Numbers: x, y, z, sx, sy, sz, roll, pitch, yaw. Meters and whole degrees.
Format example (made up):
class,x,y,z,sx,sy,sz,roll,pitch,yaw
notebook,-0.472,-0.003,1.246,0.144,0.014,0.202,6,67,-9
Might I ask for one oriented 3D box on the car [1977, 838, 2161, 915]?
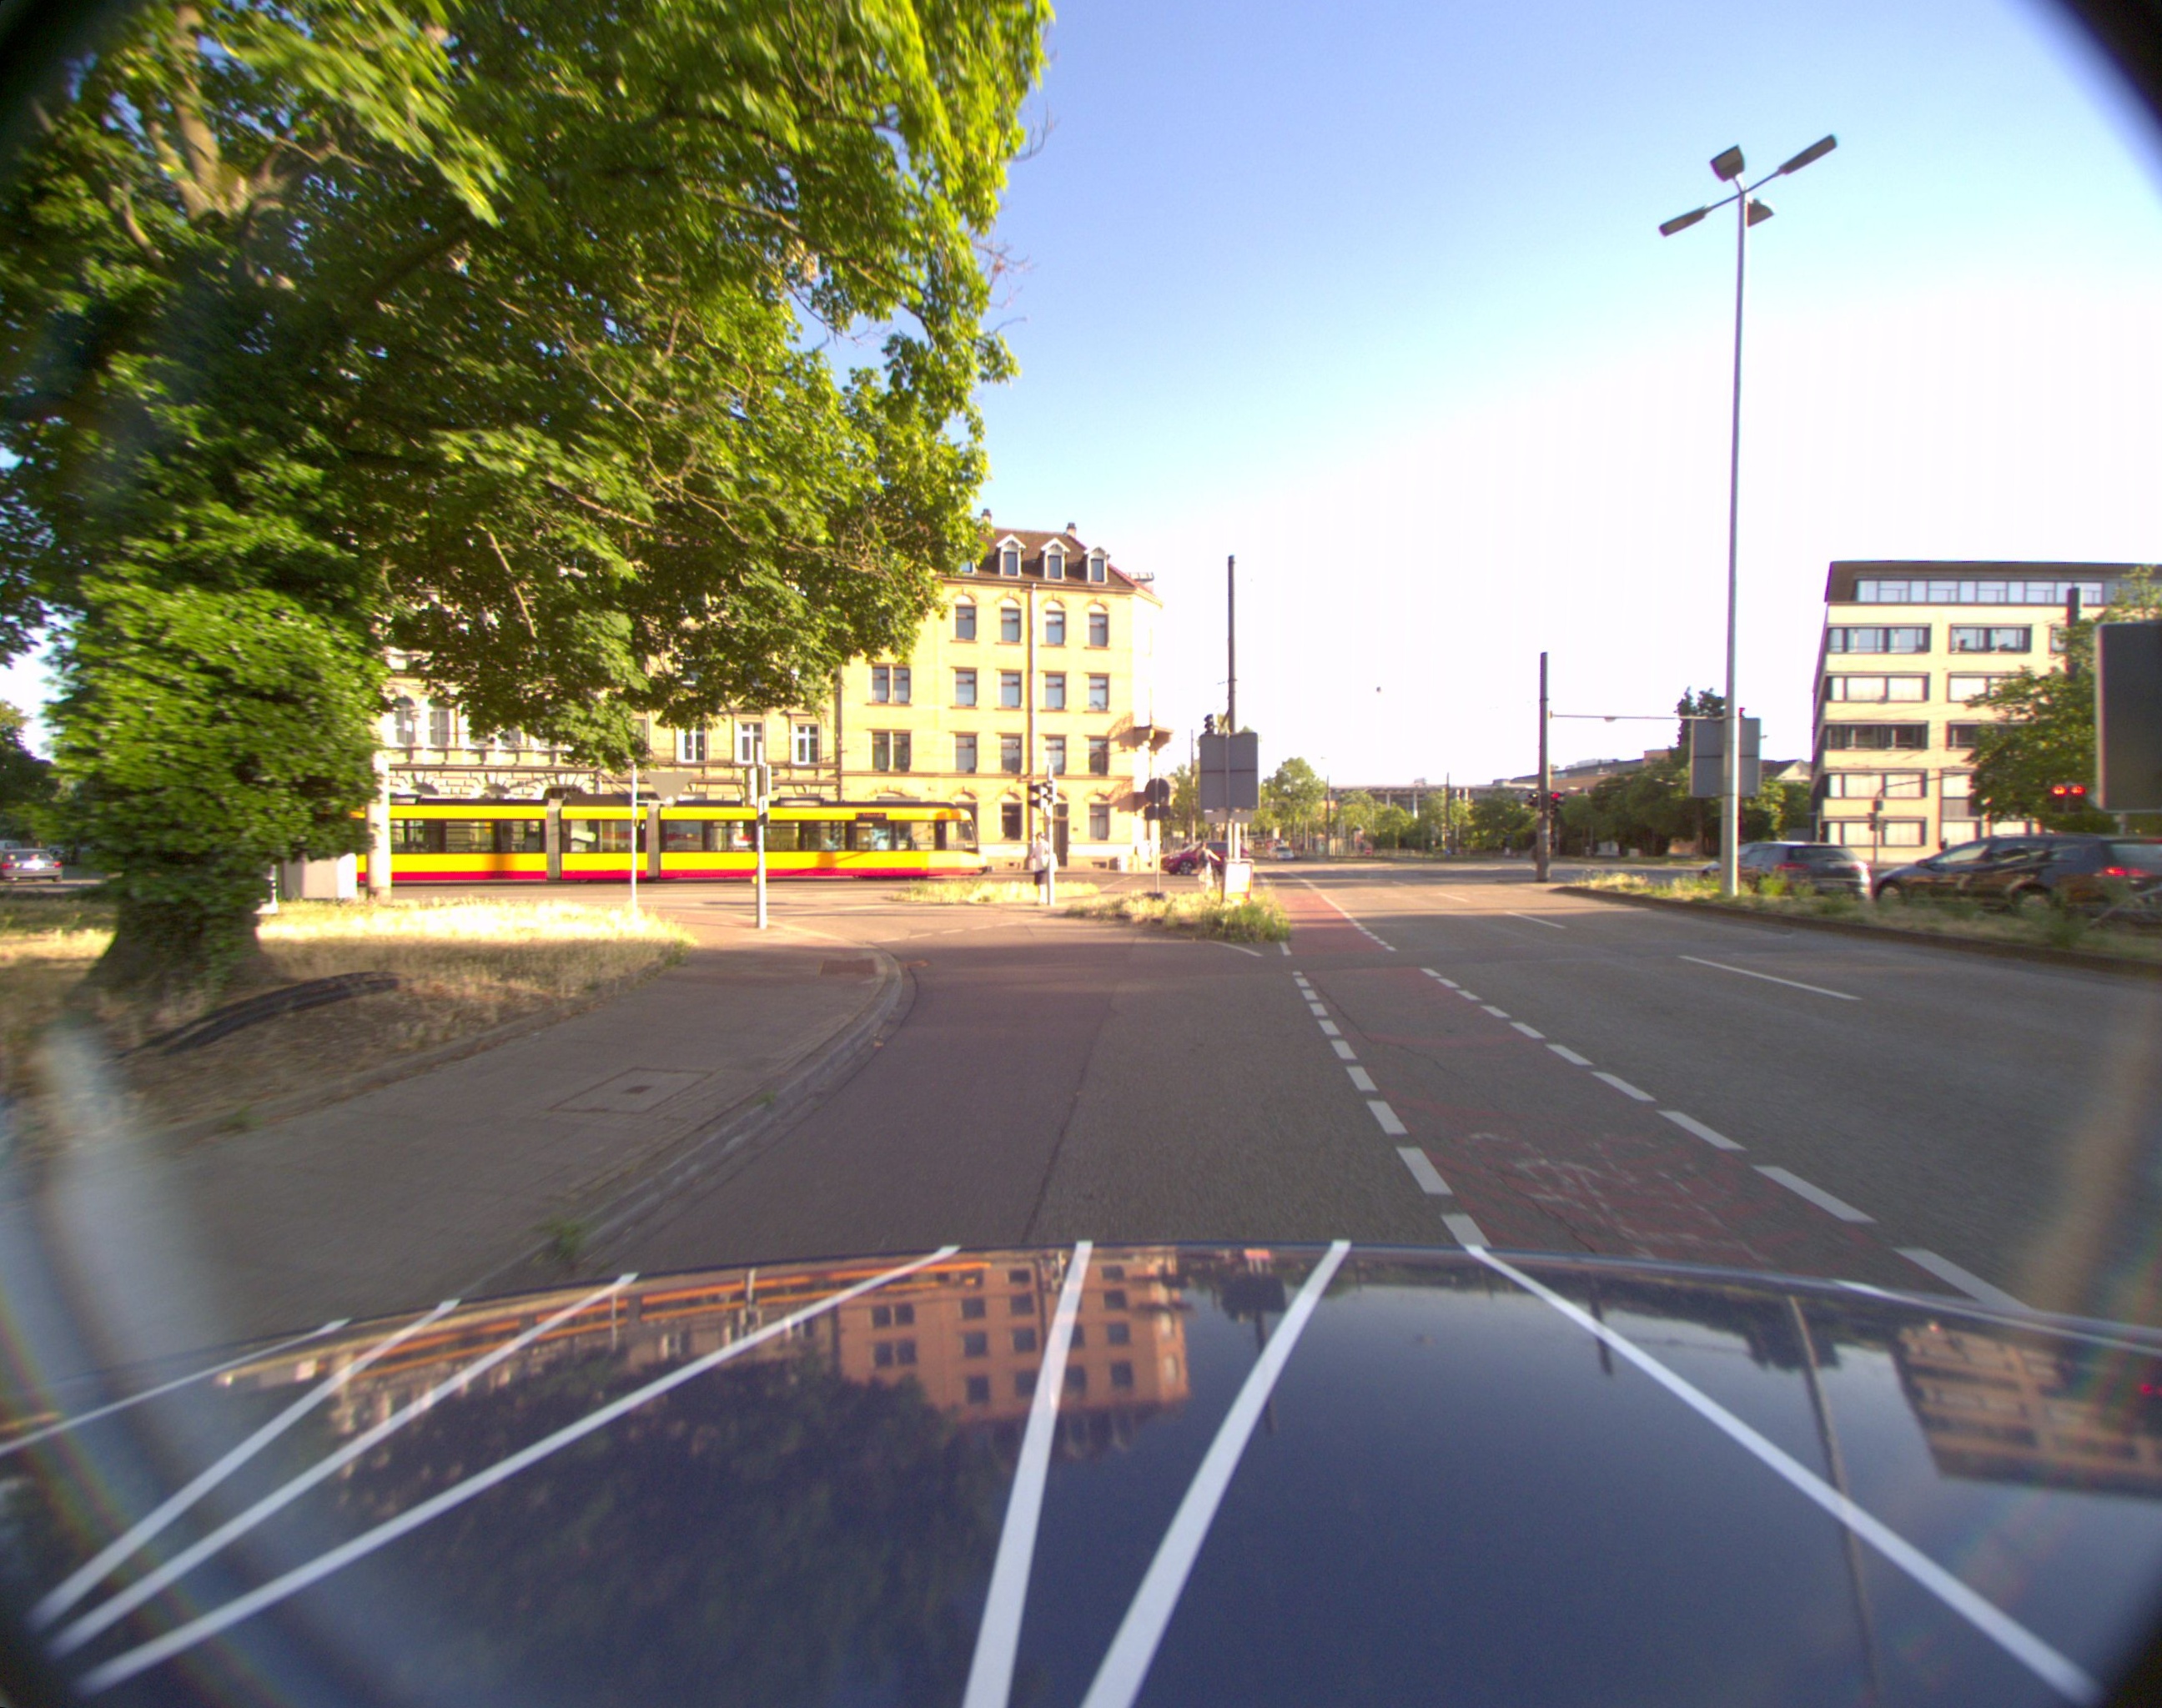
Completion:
class,x,y,z,sx,sy,sz,roll,pitch,yaw
car,19.722,0.369,14.241,1.721,1.312,3.897,0,1,11

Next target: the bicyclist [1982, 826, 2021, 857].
class,x,y,z,sx,sy,sz,roll,pitch,yaw
bicyclist,60.282,-0.808,49.780,1.250,2.002,0.995,0,1,2

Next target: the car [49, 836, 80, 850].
class,x,y,z,sx,sy,sz,roll,pitch,yaw
car,-118.024,-1.272,88.198,3.988,1.630,2.004,0,1,35

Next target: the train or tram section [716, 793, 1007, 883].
class,x,y,z,sx,sy,sz,roll,pitch,yaw
train or tram section,-8.927,-0.666,32.091,11.301,3.488,2.866,0,1,-13

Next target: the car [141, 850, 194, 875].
class,x,y,z,sx,sy,sz,roll,pitch,yaw
car,-63.974,0.558,53.222,3.988,1.630,2.004,0,1,35

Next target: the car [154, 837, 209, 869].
class,x,y,z,sx,sy,sz,roll,pitch,yaw
car,-59.086,-0.083,49.900,4.622,2.002,2.004,1,1,36

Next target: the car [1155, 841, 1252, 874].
class,x,y,z,sx,sy,sz,roll,pitch,yaw
car,6.073,0.151,37.833,4.467,1.605,1.819,0,1,-13

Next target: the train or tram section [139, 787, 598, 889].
class,x,y,z,sx,sy,sz,roll,pitch,yaw
train or tram section,-25.957,-0.608,28.519,13.017,3.488,2.867,0,1,-10

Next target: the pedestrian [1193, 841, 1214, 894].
class,x,y,z,sx,sy,sz,roll,pitch,yaw
pedestrian,3.829,0.412,23.751,0.488,1.622,0.526,1,2,32

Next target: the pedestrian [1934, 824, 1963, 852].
class,x,y,z,sx,sy,sz,roll,pitch,yaw
pedestrian,61.776,-1.120,54.121,0.988,2.002,0.930,0,2,-1

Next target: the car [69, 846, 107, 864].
class,x,y,z,sx,sy,sz,roll,pitch,yaw
car,-94.518,0.089,72.323,3.988,1.630,2.004,0,1,35

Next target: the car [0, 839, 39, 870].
class,x,y,z,sx,sy,sz,roll,pitch,yaw
car,-64.377,0.009,43.542,5.068,1.778,1.994,-1,1,-36

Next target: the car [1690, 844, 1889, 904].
class,x,y,z,sx,sy,sz,roll,pitch,yaw
car,16.948,0.399,18.490,1.721,1.289,4.253,0,1,15

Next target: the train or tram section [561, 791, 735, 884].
class,x,y,z,sx,sy,sz,roll,pitch,yaw
train or tram section,-16.997,-0.646,30.231,5.305,3.488,2.866,0,1,-12

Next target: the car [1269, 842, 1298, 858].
class,x,y,z,sx,sy,sz,roll,pitch,yaw
car,21.281,-0.445,79.941,1.999,1.565,3.999,0,1,0

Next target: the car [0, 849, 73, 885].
class,x,y,z,sx,sy,sz,roll,pitch,yaw
car,-43.573,0.504,30.126,4.163,1.372,1.812,0,1,-11

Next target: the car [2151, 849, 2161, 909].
class,x,y,z,sx,sy,sz,roll,pitch,yaw
car,23.784,0.556,14.472,1.721,1.289,3.897,0,1,11

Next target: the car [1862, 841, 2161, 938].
class,x,y,z,sx,sy,sz,roll,pitch,yaw
car,15.276,0.447,12.204,1.721,1.289,4.381,0,1,13

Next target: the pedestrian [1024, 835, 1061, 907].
class,x,y,z,sx,sy,sz,roll,pitch,yaw
pedestrian,-0.967,0.413,19.114,0.826,1.779,0.911,0,1,3

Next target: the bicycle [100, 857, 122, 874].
class,x,y,z,sx,sy,sz,roll,pitch,yaw
bicycle,-63.881,0.736,50.045,2.110,1.077,0.730,0,1,42

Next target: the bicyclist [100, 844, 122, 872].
class,x,y,z,sx,sy,sz,roll,pitch,yaw
bicyclist,-63.853,0.278,50.010,1.209,1.830,0.731,0,2,43

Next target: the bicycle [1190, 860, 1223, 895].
class,x,y,z,sx,sy,sz,roll,pitch,yaw
bicycle,3.922,0.719,23.720,0.398,1.023,1.675,1,1,32

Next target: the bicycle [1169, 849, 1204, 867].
class,x,y,z,sx,sy,sz,roll,pitch,yaw
bicycle,6.132,0.222,44.071,1.069,1.018,2.980,0,1,28

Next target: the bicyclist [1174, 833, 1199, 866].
class,x,y,z,sx,sy,sz,roll,pitch,yaw
bicyclist,6.129,-0.272,44.088,1.069,1.831,1.305,1,1,27

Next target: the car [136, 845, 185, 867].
class,x,y,z,sx,sy,sz,roll,pitch,yaw
car,-70.021,0.109,57.809,3.988,1.630,2.004,0,1,35
